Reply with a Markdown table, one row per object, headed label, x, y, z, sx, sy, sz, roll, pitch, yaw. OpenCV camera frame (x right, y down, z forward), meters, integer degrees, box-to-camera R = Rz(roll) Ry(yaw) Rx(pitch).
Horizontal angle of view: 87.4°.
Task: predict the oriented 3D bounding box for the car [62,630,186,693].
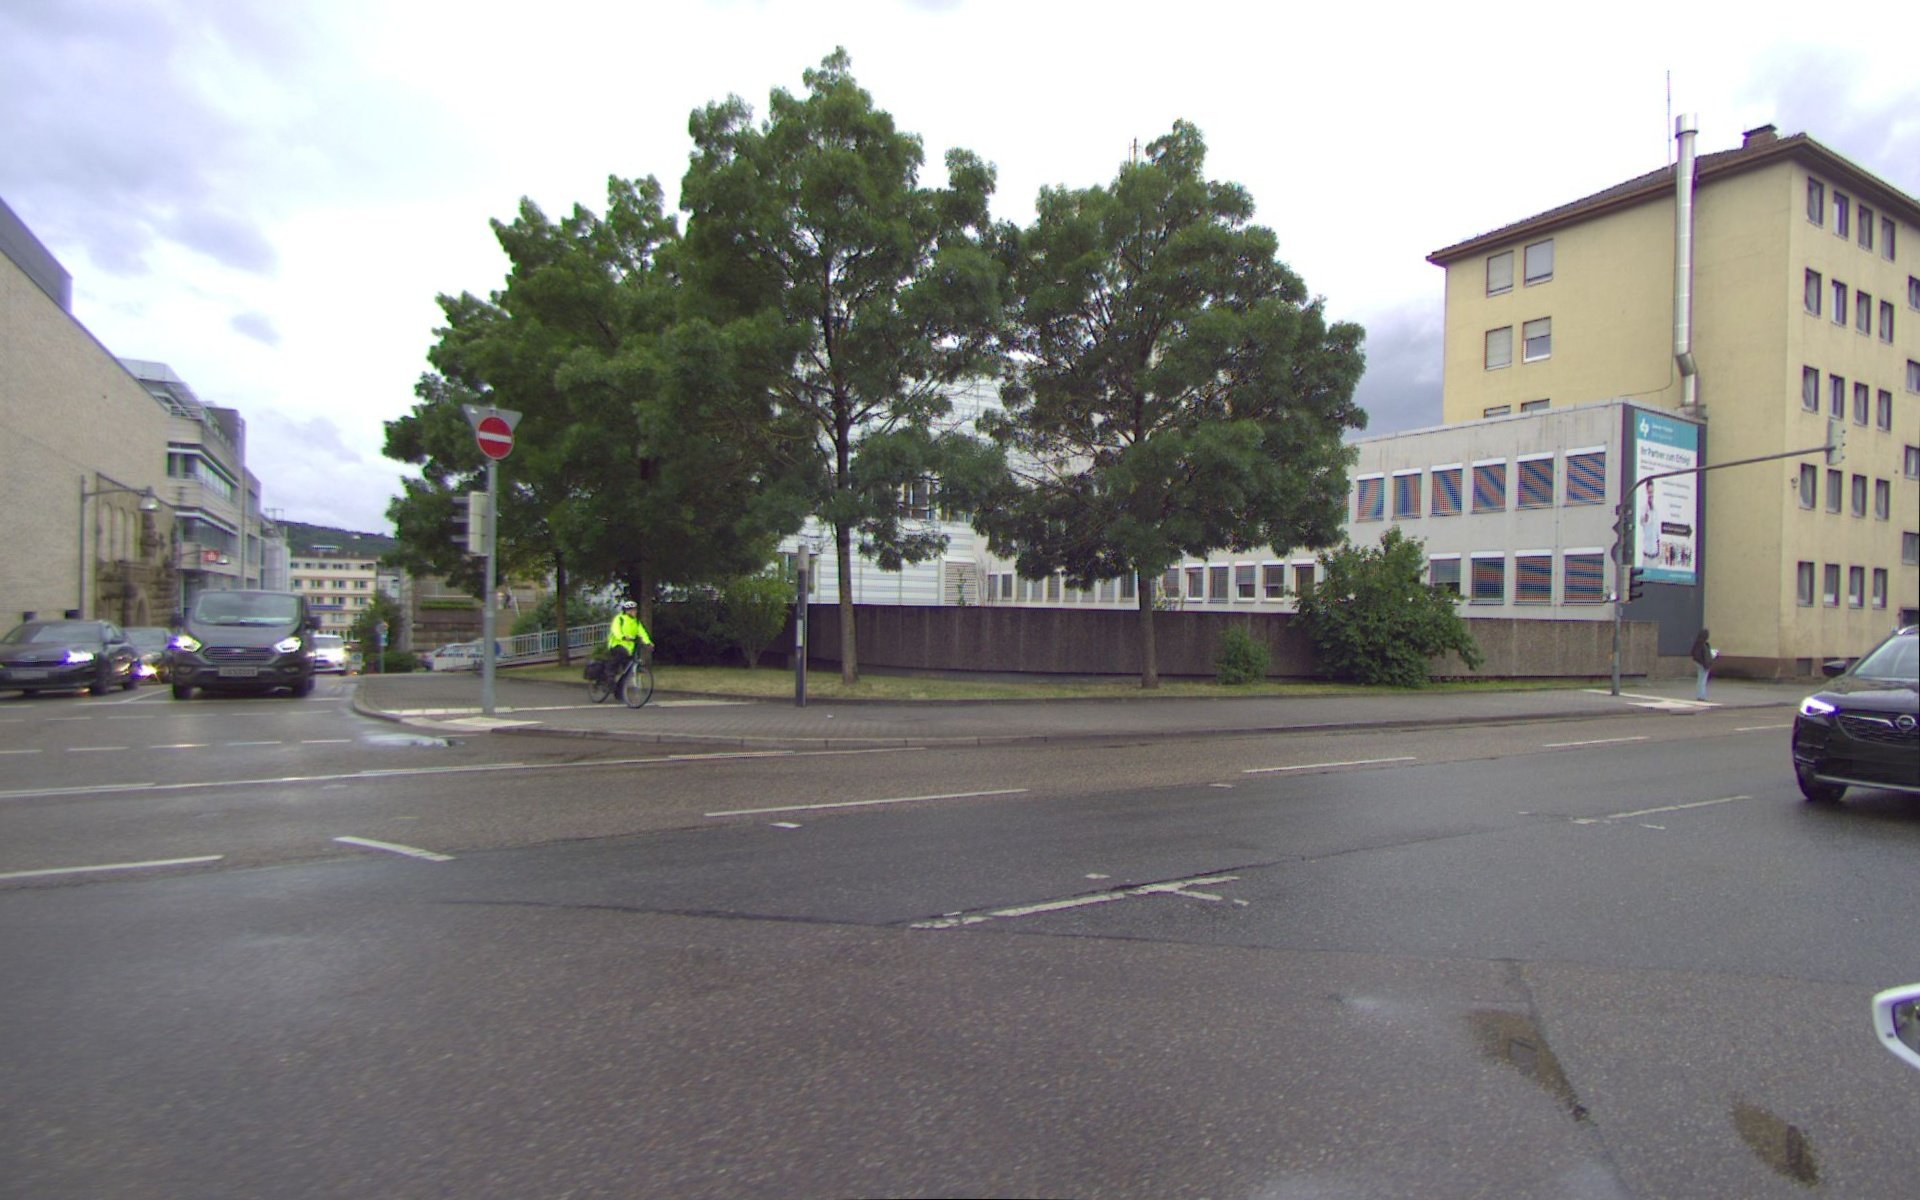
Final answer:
| label | x | y | z | sx | sy | sz | roll | pitch | yaw |
| --- | --- | --- | --- | --- | --- | --- | --- | --- | --- |
| car | -21.221 | 1.592 | 25.667 | 1.980 | 1.476 | 3.964 | 2 | -4 | -34 |

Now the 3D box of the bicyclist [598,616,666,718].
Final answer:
| label | x | y | z | sx | sy | sz | roll | pitch | yaw |
| --- | --- | --- | --- | --- | --- | --- | --- | --- | --- |
| bicyclist | -5.004 | 0.997 | 15.302 | 0.803 | 1.461 | 0.838 | 2 | 1 | -30 |

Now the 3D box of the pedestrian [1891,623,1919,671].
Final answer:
| label | x | y | z | sx | sy | sz | roll | pitch | yaw |
| --- | --- | --- | --- | --- | --- | --- | --- | --- | --- |
| pedestrian | 35.069 | 1.737 | 37.128 | 0.801 | 1.712 | 0.714 | 2 | 1 | -30 |

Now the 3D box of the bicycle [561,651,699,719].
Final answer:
| label | x | y | z | sx | sy | sz | roll | pitch | yaw |
| --- | --- | --- | --- | --- | --- | --- | --- | --- | --- |
| bicycle | -5.016 | 1.274 | 15.294 | 1.845 | 0.919 | 0.881 | 2 | 1 | -30 |

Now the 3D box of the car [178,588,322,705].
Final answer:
| label | x | y | z | sx | sy | sz | roll | pitch | yaw |
| --- | --- | --- | --- | --- | --- | --- | --- | --- | --- |
| car | -13.522 | 0.951 | 19.303 | 1.980 | 1.950 | 4.749 | 2 | -4 | -34 |

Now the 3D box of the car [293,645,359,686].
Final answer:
| label | x | y | z | sx | sy | sz | roll | pitch | yaw |
| --- | --- | --- | --- | --- | --- | --- | --- | --- | --- |
| car | -24.026 | 2.502 | 38.136 | 1.978 | 1.476 | 3.967 | 2 | -4 | -32 |

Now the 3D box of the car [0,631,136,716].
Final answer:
| label | x | y | z | sx | sy | sz | roll | pitch | yaw |
| --- | --- | --- | --- | --- | --- | --- | --- | --- | --- |
| car | -17.227 | 1.392 | 19.178 | 1.981 | 1.460 | 3.961 | 2 | -5 | -36 |

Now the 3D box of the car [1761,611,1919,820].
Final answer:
| label | x | y | z | sx | sy | sz | roll | pitch | yaw |
| --- | --- | --- | --- | --- | --- | --- | --- | --- | --- |
| car | 9.192 | 0.961 | 9.008 | 4.246 | 1.615 | 1.798 | 2 | -1 | -31 |

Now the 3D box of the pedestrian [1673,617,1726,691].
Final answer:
| label | x | y | z | sx | sy | sz | roll | pitch | yaw |
| --- | --- | --- | --- | --- | --- | --- | --- | --- | --- |
| pedestrian | 17.831 | 1.290 | 24.232 | 0.801 | 1.712 | 0.714 | 2 | 1 | -30 |

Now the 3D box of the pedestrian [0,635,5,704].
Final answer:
| label | x | y | z | sx | sy | sz | roll | pitch | yaw |
| --- | --- | --- | --- | --- | --- | --- | --- | --- | --- |
| pedestrian | -23.841 | 1.711 | 24.340 | 0.799 | 1.694 | 1.103 | 2 | 1 | -34 |
